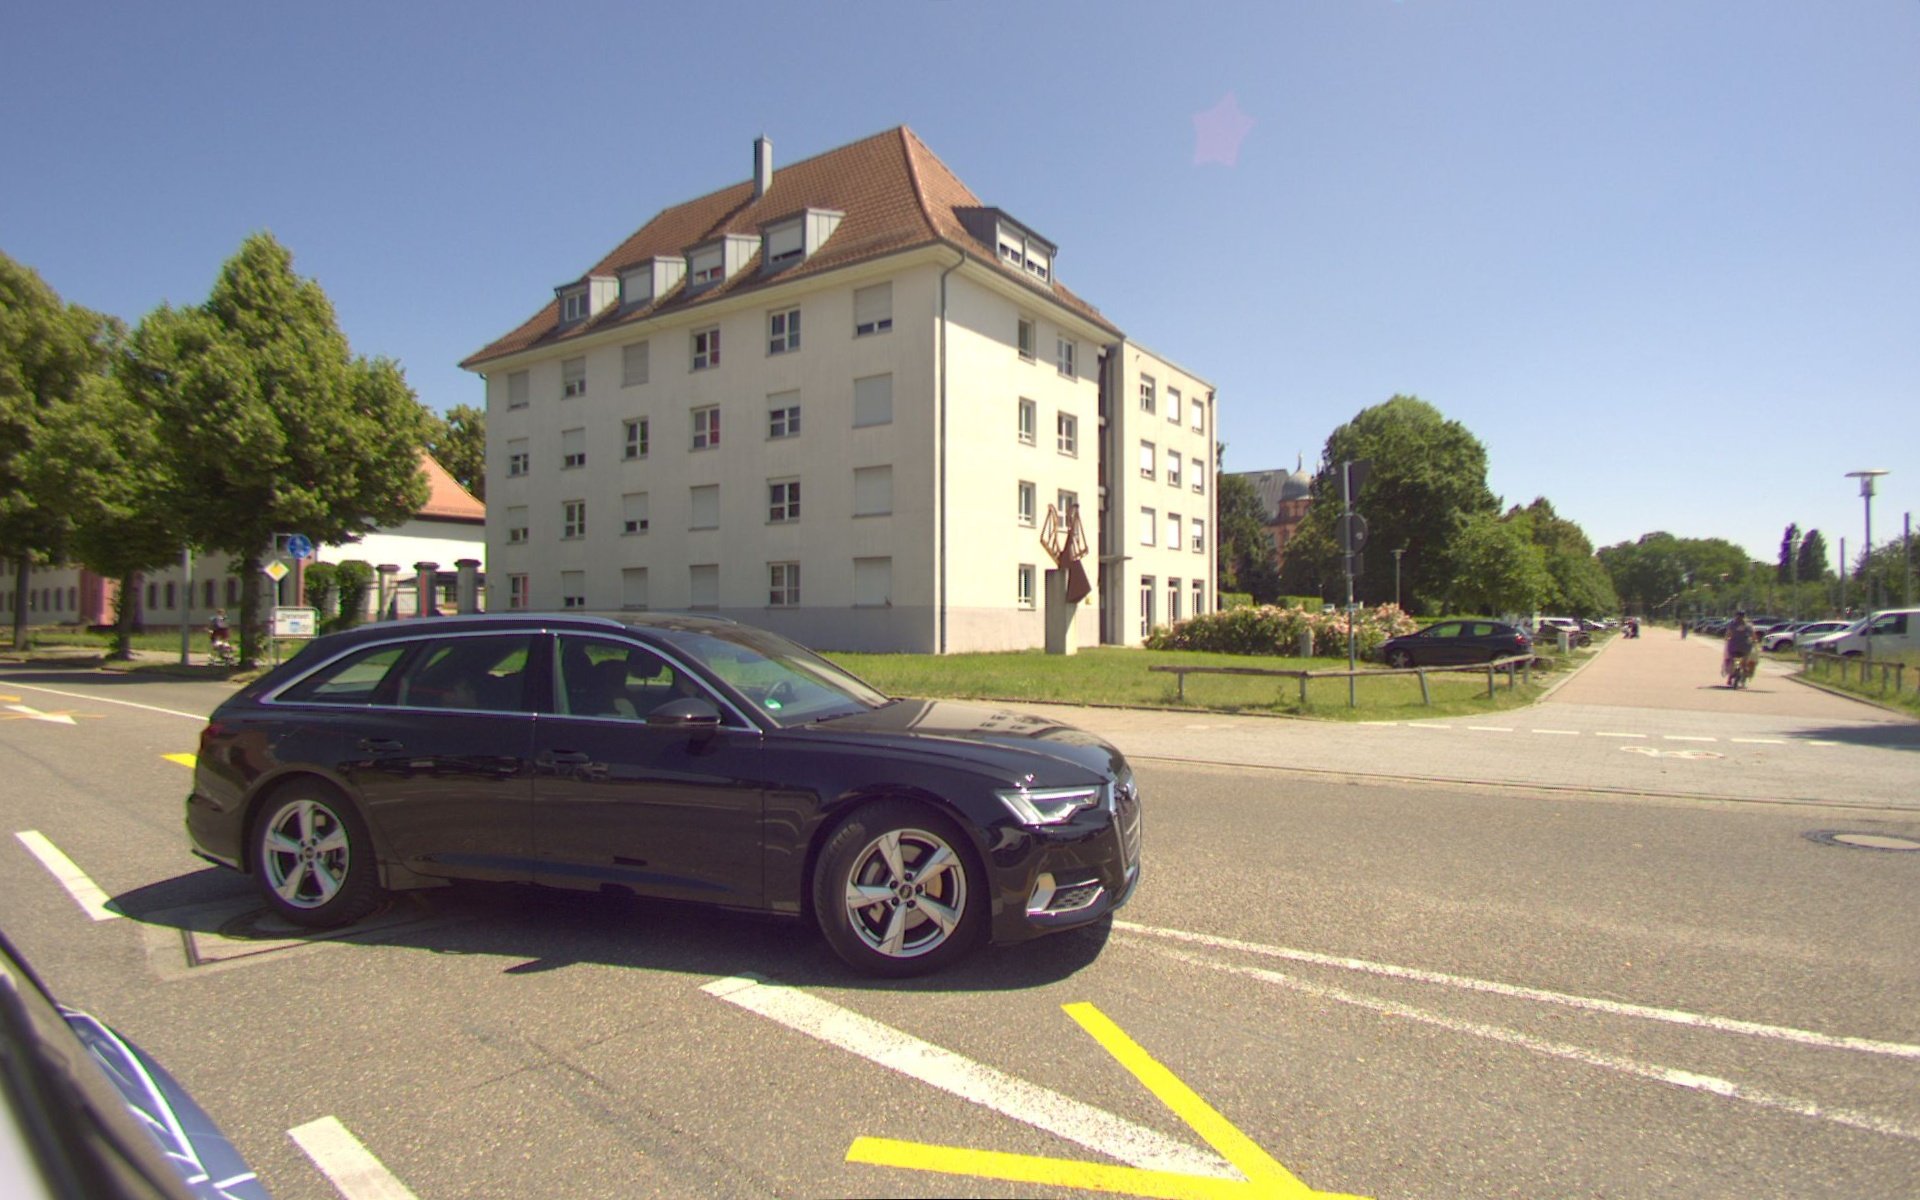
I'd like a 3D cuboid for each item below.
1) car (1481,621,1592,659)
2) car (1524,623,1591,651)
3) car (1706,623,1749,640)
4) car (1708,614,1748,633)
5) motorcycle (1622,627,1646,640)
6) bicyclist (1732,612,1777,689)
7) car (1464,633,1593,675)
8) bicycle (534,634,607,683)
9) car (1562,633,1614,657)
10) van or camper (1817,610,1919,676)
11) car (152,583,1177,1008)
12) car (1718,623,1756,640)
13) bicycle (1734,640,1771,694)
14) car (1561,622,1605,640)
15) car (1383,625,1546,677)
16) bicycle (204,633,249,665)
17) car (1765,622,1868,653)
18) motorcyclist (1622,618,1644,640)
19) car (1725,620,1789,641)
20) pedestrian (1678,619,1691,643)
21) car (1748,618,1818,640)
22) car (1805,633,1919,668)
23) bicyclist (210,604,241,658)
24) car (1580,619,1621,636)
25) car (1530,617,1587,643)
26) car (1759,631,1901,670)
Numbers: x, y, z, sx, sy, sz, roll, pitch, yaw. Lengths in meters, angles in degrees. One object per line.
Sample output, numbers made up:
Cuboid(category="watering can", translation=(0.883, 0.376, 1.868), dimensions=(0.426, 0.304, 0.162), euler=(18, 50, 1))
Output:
Cuboid(category="car", translation=(23.559, 1.614, 41.389), dimensions=(3.800, 1.336, 1.640), euler=(1, 1, 35))
Cuboid(category="car", translation=(29.989, 1.828, 50.836), dimensions=(2.747, 1.367, 1.156), euler=(-1, -2, 42))
Cuboid(category="car", translation=(70.061, 2.854, 92.427), dimensions=(3.039, 1.478, 1.370), euler=(-1, -2, 41))
Cuboid(category="car", translation=(74.128, 2.276, 97.735), dimensions=(3.000, 1.736, 1.118), euler=(-1, -2, 41))
Cuboid(category="motorcycle", translation=(49.606, 2.464, 74.498), dimensions=(1.368, 0.929, 3.187), euler=(-1, -2, 35))
Cuboid(category="bicyclist", translation=(17.723, 1.112, 22.580), dimensions=(0.715, 1.650, 0.961), euler=(1, 0, 41))
Cuboid(category="car", translation=(18.190, 1.697, 32.437), dimensions=(3.506, 1.227, 1.340), euler=(-1, -2, 36))
Cuboid(category="bicycle", translation=(-9.022, 1.329, 23.395), dimensions=(1.984, 1.032, 0.700), euler=(-1, 2, 41))
Cuboid(category="car", translation=(38.472, 2.745, 62.029), dimensions=(2.528, 1.368, 1.069), euler=(-1, -2, 42))
Cuboid(category="van or camper", translation=(28.505, 1.238, 29.388), dimensions=(5.259, 1.871, 1.977), euler=(-1, -2, 35))
Cuboid(category="car", translation=(-1.318, 0.716, 4.959), dimensions=(4.575, 1.462, 1.793), euler=(-1, 0, 15))
Cuboid(category="car", translation=(69.167, 2.818, 90.075), dimensions=(2.560, 1.505, 1.118), euler=(-1, -2, 41))
Cuboid(category="bicycle", translation=(17.639, 1.467, 22.515), dimensions=(0.550, 1.121, 1.654), euler=(1, 0, 41))
Cuboid(category="car", translation=(71.218, 3.527, 115.665), dimensions=(3.999, 2.029, 1.972), euler=(-1, -2, 42))
Cuboid(category="car", translation=(13.770, 1.351, 27.701), dimensions=(3.799, 1.337, 1.640), euler=(-1, -2, 35))
Cuboid(category="bicycle", translation=(-22.572, 1.495, 31.131), dimensions=(1.904, 0.922, 0.556), euler=(-1, -2, 36))
Cuboid(category="car", translation=(37.179, 1.589, 43.970), dimensions=(3.382, 1.291, 1.338), euler=(-1, -2, 42))
Cuboid(category="motorcyclist", translation=(49.389, 2.125, 74.241), dimensions=(1.252, 1.621, 1.423), euler=(-1, -2, 36))
Cuboid(category="car", translation=(58.083, 2.236, 73.820), dimensions=(3.533, 1.475, 1.530), euler=(-1, -2, 37))
Cuboid(category="pedestrian", translation=(51.908, 2.190, 72.488), dimensions=(0.671, 1.677, 1.325), euler=(-1, -1, 34))
Cuboid(category="car", translation=(50.045, 1.752, 61.565), dimensions=(3.225, 1.291, 1.338), euler=(-1, -2, 41))
Cuboid(category="car", translation=(33.906, 1.874, 37.761), dimensions=(3.506, 1.227, 1.340), euler=(-1, -2, 36))
Cuboid(category="bicyclist", translation=(-22.633, 0.947, 31.179), dimensions=(0.738, 1.623, 0.562), euler=(-1, -2, 35))
Cuboid(category="car", translation=(79.123, 3.371, 125.047), dimensions=(3.999, 2.029, 1.972), euler=(-1, -2, 42))
Cuboid(category="car", translation=(32.820, 1.649, 55.542), dimensions=(2.528, 1.368, 1.069), euler=(-1, -2, 42))
Cuboid(category="car", translation=(29.471, 1.684, 34.405), dimensions=(3.506, 1.227, 1.340), euler=(-1, -2, 36))
